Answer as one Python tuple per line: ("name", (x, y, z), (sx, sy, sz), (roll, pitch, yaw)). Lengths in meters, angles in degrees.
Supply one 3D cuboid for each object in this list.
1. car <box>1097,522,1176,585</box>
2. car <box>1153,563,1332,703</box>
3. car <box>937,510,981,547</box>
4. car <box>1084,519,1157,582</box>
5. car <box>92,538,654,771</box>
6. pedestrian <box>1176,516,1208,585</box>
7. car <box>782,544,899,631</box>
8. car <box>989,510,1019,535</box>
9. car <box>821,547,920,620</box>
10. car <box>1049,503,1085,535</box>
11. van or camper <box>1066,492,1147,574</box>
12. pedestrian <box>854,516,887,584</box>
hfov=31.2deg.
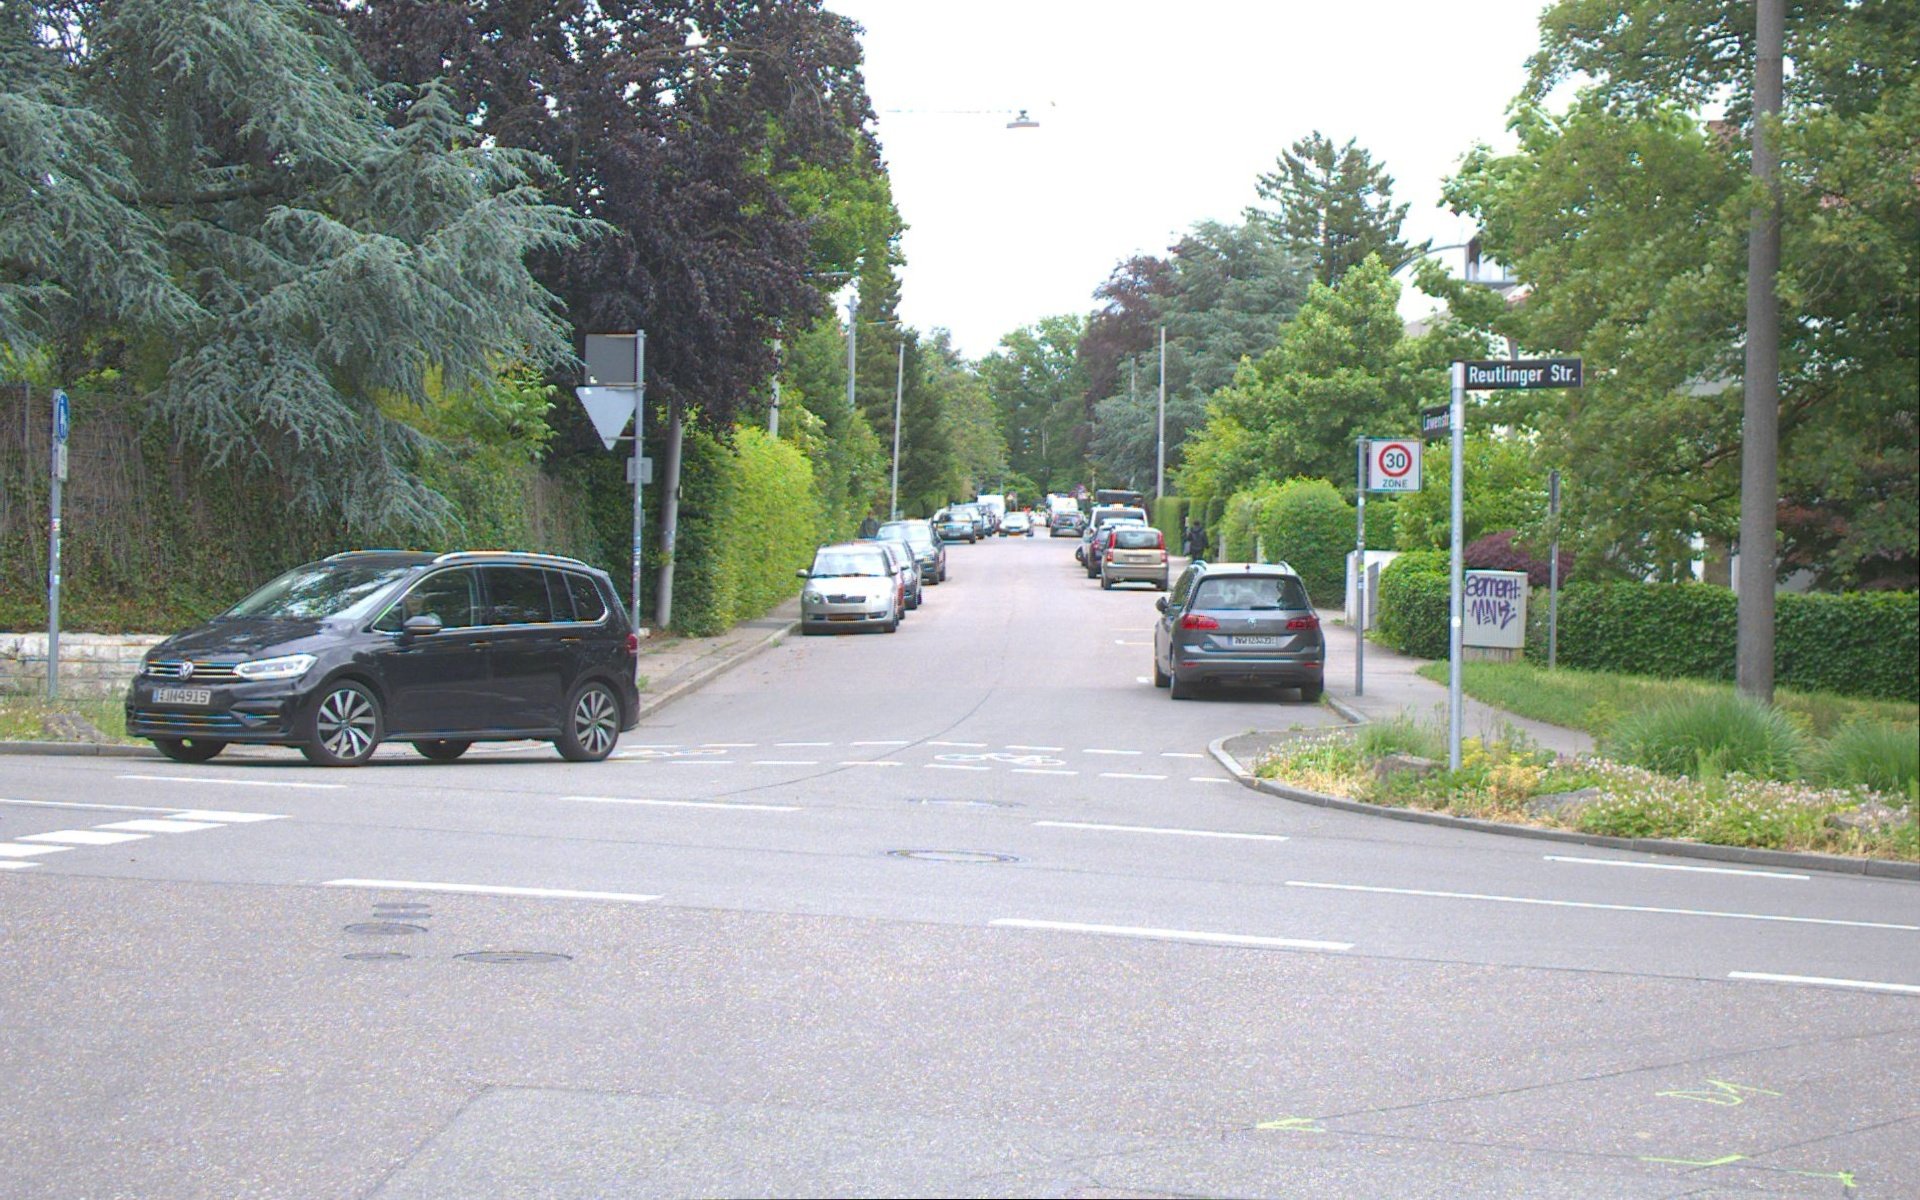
("car", (4.296, -1.142, 83.984), (1.609, 1.409, 3.473), (3, 1, -1))
("car", (3.283, 0.346, 40.562), (1.817, 1.531, 4.000), (1, 1, 1))
("car", (-0.038, -3.087, 149.108), (1.715, 1.458, 3.656), (3, 1, 1))
("car", (4.350, -1.340, 93.633), (1.747, 1.634, 3.728), (1, 1, 0))
("car", (-4.395, 0.375, 26.383), (1.851, 1.606, 4.303), (1, 1, 32))
("pedestrian", (6.412, -1.361, 95.025), (0.757, 1.865, 0.620), (3, 1, 1))
("car", (-2.071, -0.245, 60.566), (1.946, 1.437, 4.000), (1, 1, -1))
("car", (2.498, -4.397, 195.784), (1.655, 1.330, 3.781), (3, 1, 0))
("car", (-1.825, -0.358, 71.227), (1.946, 1.437, 4.000), (1, 1, -1))
("car", (5.659, -4.276, 182.107), (1.815, 1.568, 4.000), (1, 1, 1))
("van or camper", (4.462, -2.033, 105.688), (2.112, 2.396, 5.246), (1, 1, -1))
("pedestrian", (-2.716, -1.529, 104.589), (0.853, 2.007, 0.873), (3, 1, -4))
